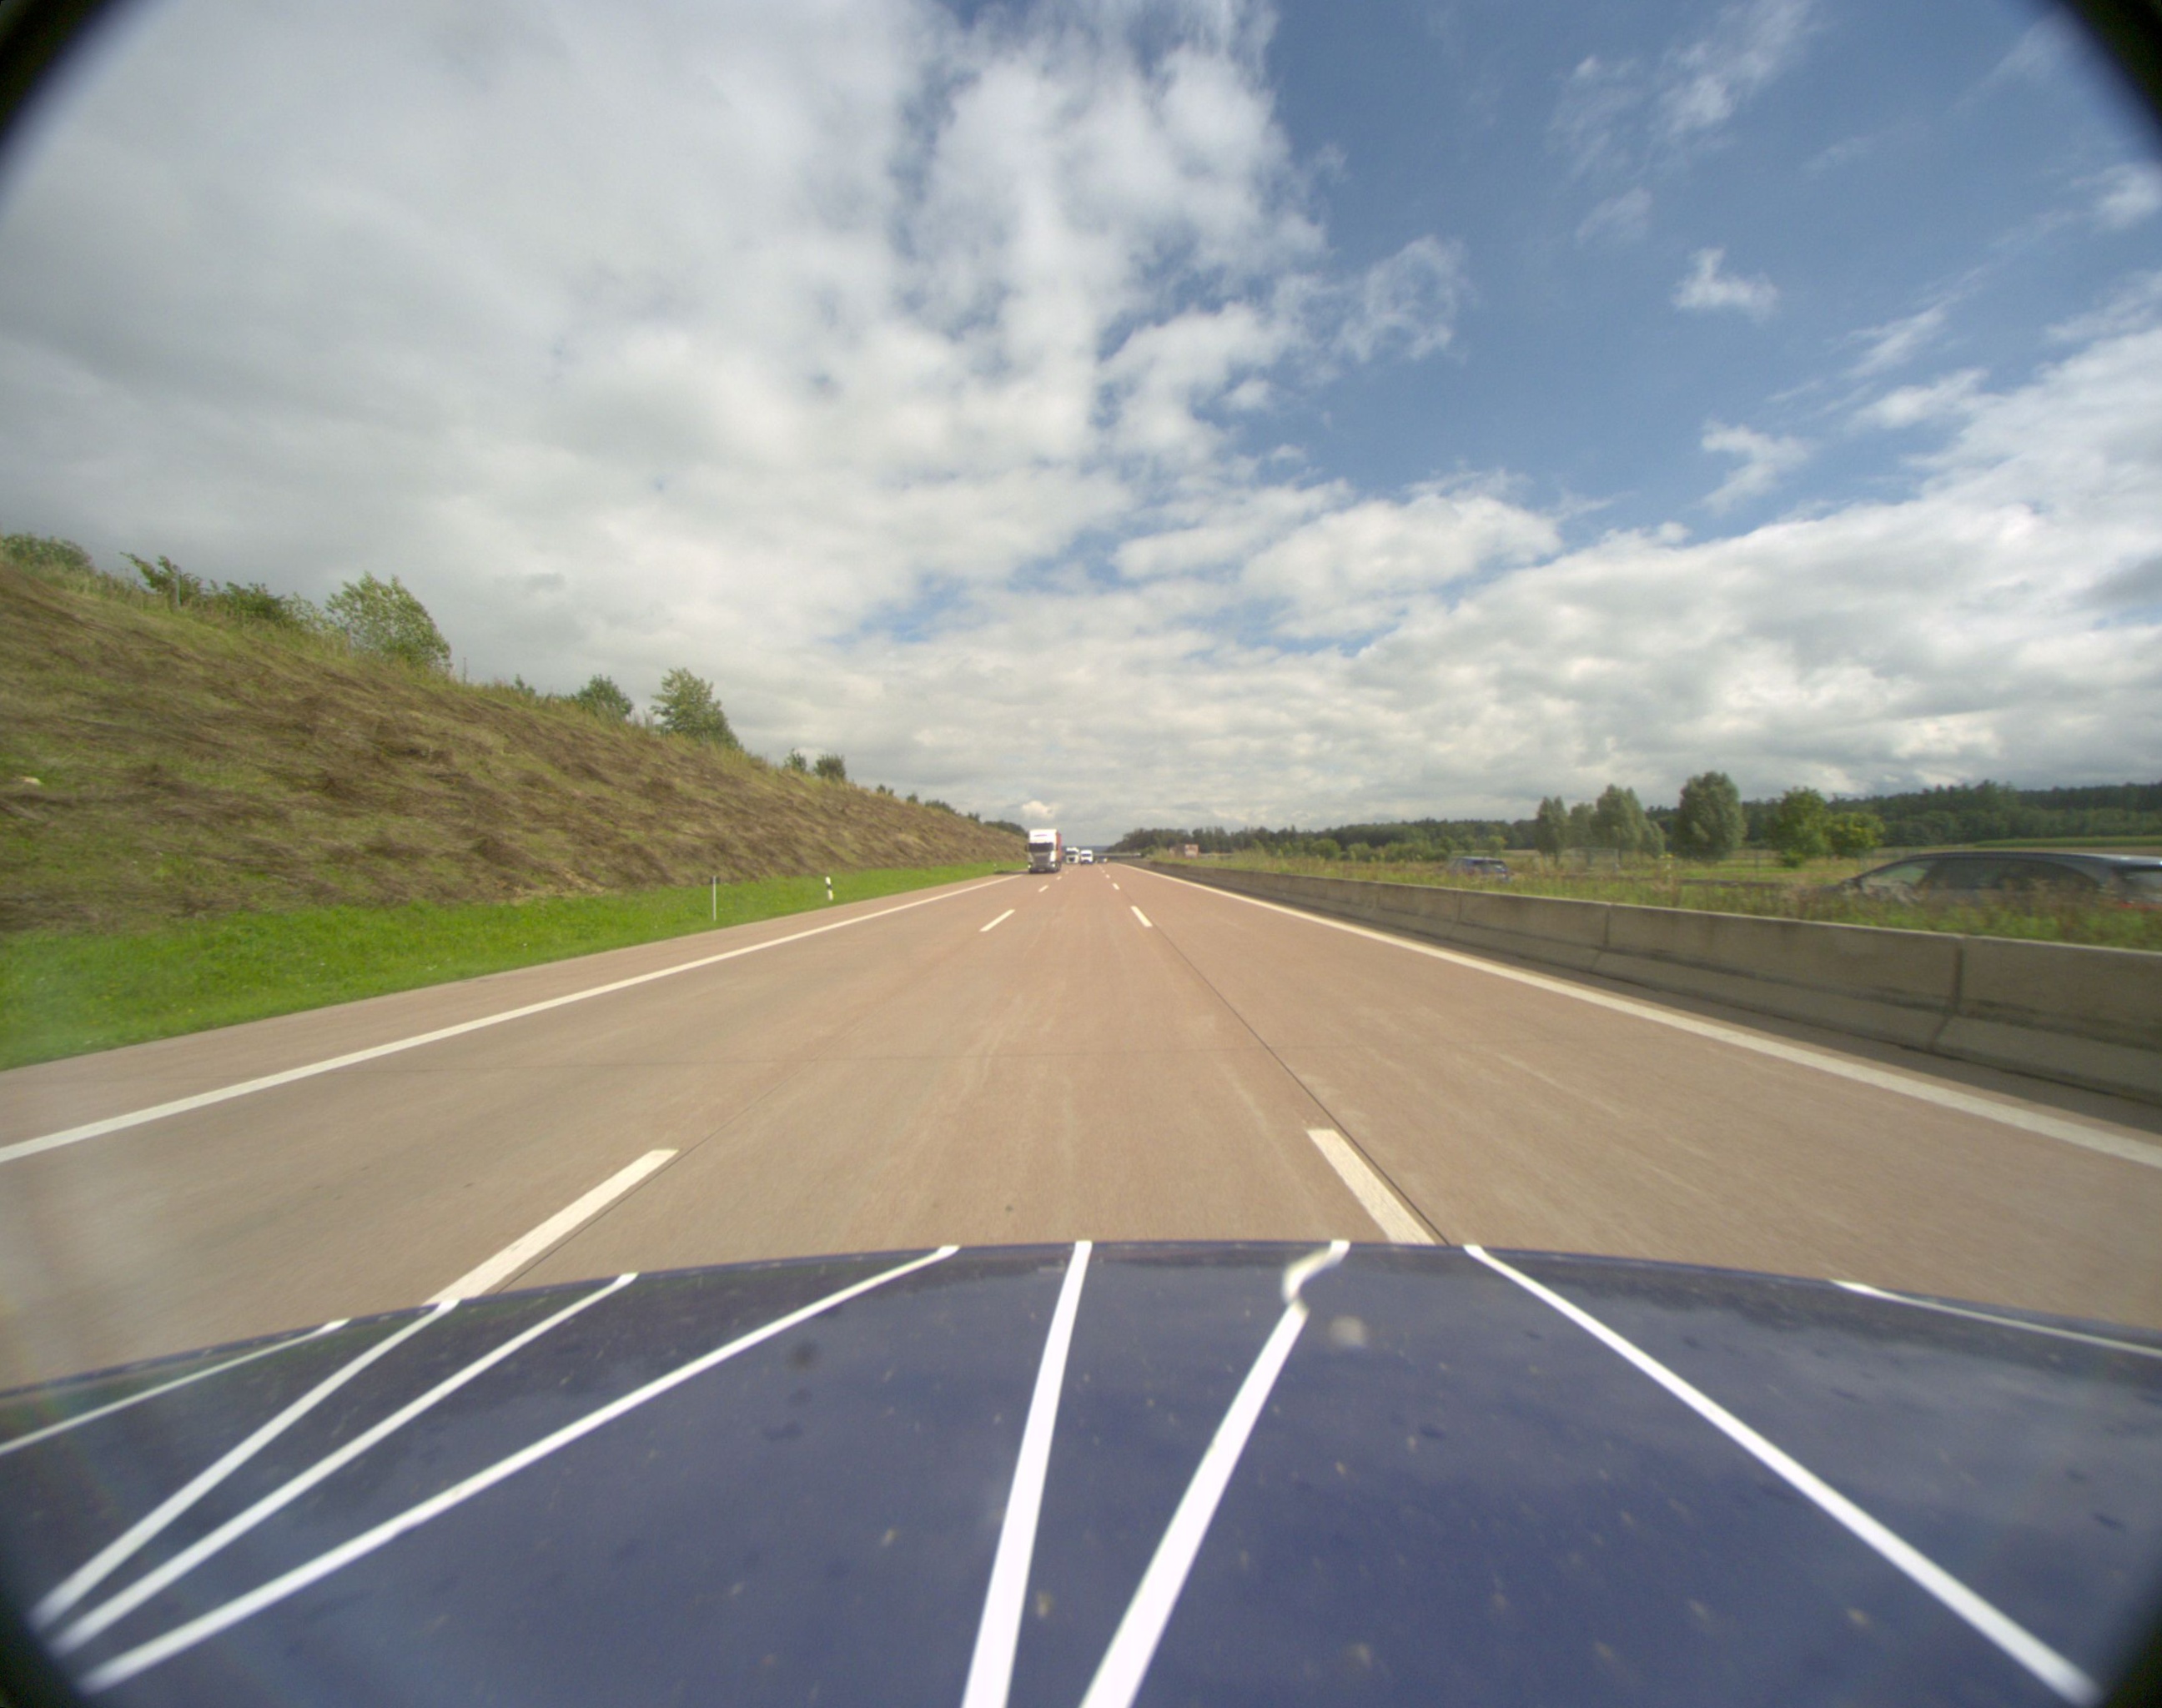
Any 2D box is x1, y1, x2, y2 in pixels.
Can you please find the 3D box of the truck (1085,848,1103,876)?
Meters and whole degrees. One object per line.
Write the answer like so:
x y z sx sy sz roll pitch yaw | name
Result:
2.206 1.280 128.300 2.681 4.333 11.808 -2 0 1 | truck

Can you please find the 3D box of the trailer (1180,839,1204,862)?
21.850 -0.702 150.649 3.029 4.239 12.095 -2 0 1 | trailer

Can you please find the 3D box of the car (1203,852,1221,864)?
21.268 0.655 123.442 2.063 1.835 5.728 0 0 1 | car

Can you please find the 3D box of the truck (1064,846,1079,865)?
-2.101 0.282 180.839 3.107 4.333 11.256 -2 0 1 | truck

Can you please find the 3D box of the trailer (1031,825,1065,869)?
-3.217 -0.627 77.531 2.679 4.069 12.789 -1 0 1 | trailer

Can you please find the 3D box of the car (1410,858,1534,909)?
15.657 1.090 30.918 1.998 1.835 6.102 0 0 1 | car

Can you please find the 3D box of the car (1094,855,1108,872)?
4.069 1.967 153.394 2.773 3.260 6.393 -2 0 2 | car

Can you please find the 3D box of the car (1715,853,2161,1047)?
11.376 0.919 9.827 1.998 1.835 5.274 0 0 1 | car

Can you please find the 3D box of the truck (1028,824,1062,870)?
-3.312 -0.634 71.535 2.681 4.082 6.616 -1 0 1 | truck
